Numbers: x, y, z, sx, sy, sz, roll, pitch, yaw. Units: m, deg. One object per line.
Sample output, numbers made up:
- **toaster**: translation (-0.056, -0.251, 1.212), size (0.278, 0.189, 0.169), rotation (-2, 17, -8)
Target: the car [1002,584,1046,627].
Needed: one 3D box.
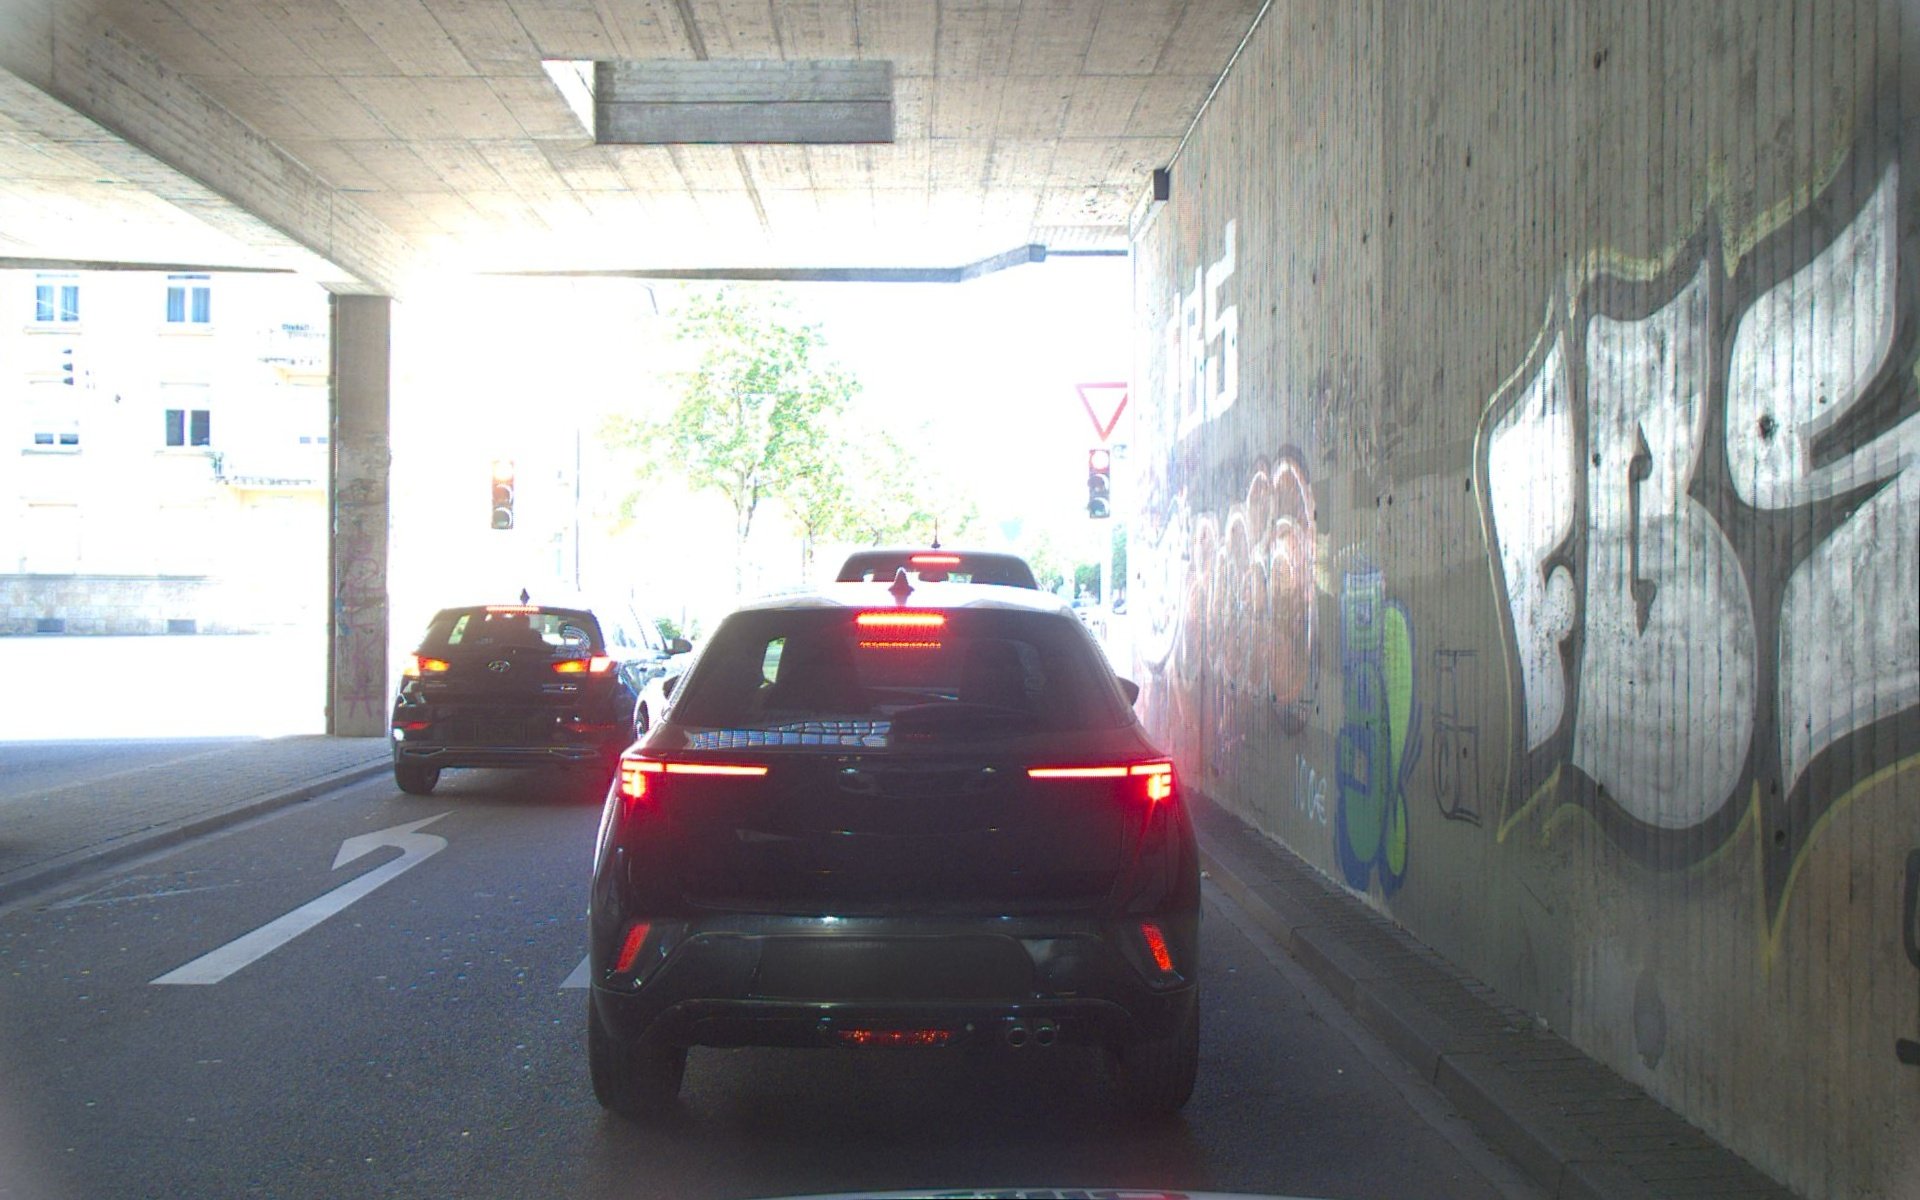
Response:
- **car**: translation (2.669, 0.217, 68.338), size (1.717, 1.696, 3.946), rotation (1, 0, 3)

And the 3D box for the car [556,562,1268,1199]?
- **car**: translation (-0.140, 0.685, 6.073), size (1.726, 1.558, 4.088), rotation (0, 0, -1)

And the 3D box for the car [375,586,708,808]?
- **car**: translation (-3.151, 0.658, 13.216), size (1.726, 1.506, 3.843), rotation (0, 0, -1)

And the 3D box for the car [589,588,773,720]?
- **car**: translation (-3.421, 0.619, 20.936), size (1.726, 1.506, 3.843), rotation (0, 0, -1)

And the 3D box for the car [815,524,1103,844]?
- **car**: translation (-0.034, 0.503, 12.018), size (1.726, 1.915, 4.145), rotation (0, 0, -1)

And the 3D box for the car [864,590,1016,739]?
- **car**: translation (-0.239, 0.670, 19.232), size (1.576, 1.539, 4.053), rotation (0, 0, -1)

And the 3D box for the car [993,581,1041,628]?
- **car**: translation (2.179, 0.182, 62.212), size (1.717, 1.696, 3.946), rotation (1, 0, 3)

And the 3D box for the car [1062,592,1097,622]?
- **car**: translation (6.915, 0.406, 95.756), size (1.716, 1.696, 3.947), rotation (1, 0, 8)

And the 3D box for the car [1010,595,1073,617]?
- **car**: translation (6.594, 0.514, 133.854), size (4.732, 1.696, 1.812), rotation (1, 0, -22)
